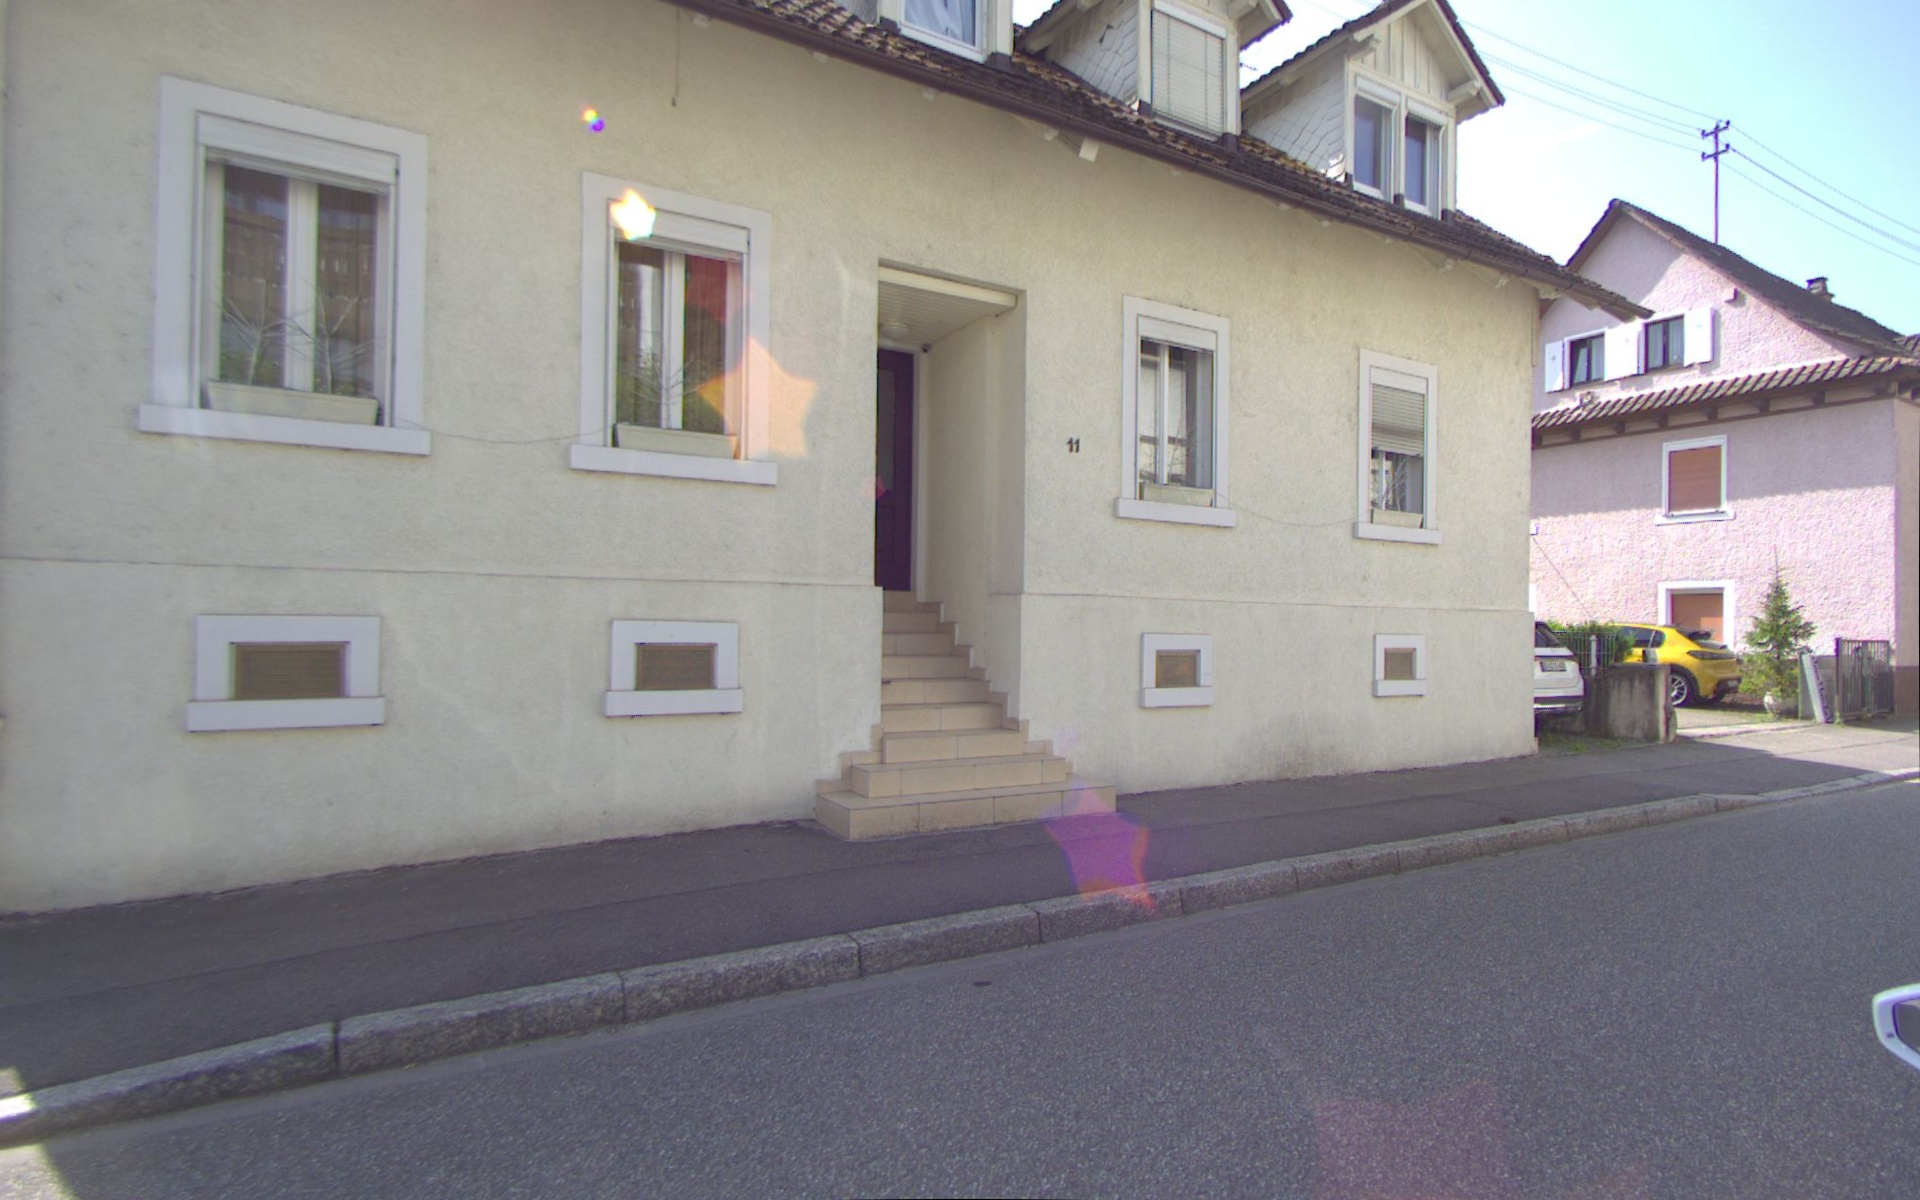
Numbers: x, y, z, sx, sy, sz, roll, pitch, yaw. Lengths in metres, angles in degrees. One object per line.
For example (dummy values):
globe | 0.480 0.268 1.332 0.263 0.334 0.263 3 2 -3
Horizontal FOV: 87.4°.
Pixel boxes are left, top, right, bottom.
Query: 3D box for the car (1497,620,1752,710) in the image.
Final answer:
car | 12.489 1.143 19.093 1.628 1.411 3.728 0 0 -33

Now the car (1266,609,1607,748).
car | 6.541 0.969 14.203 1.887 1.615 3.964 1 0 -33
